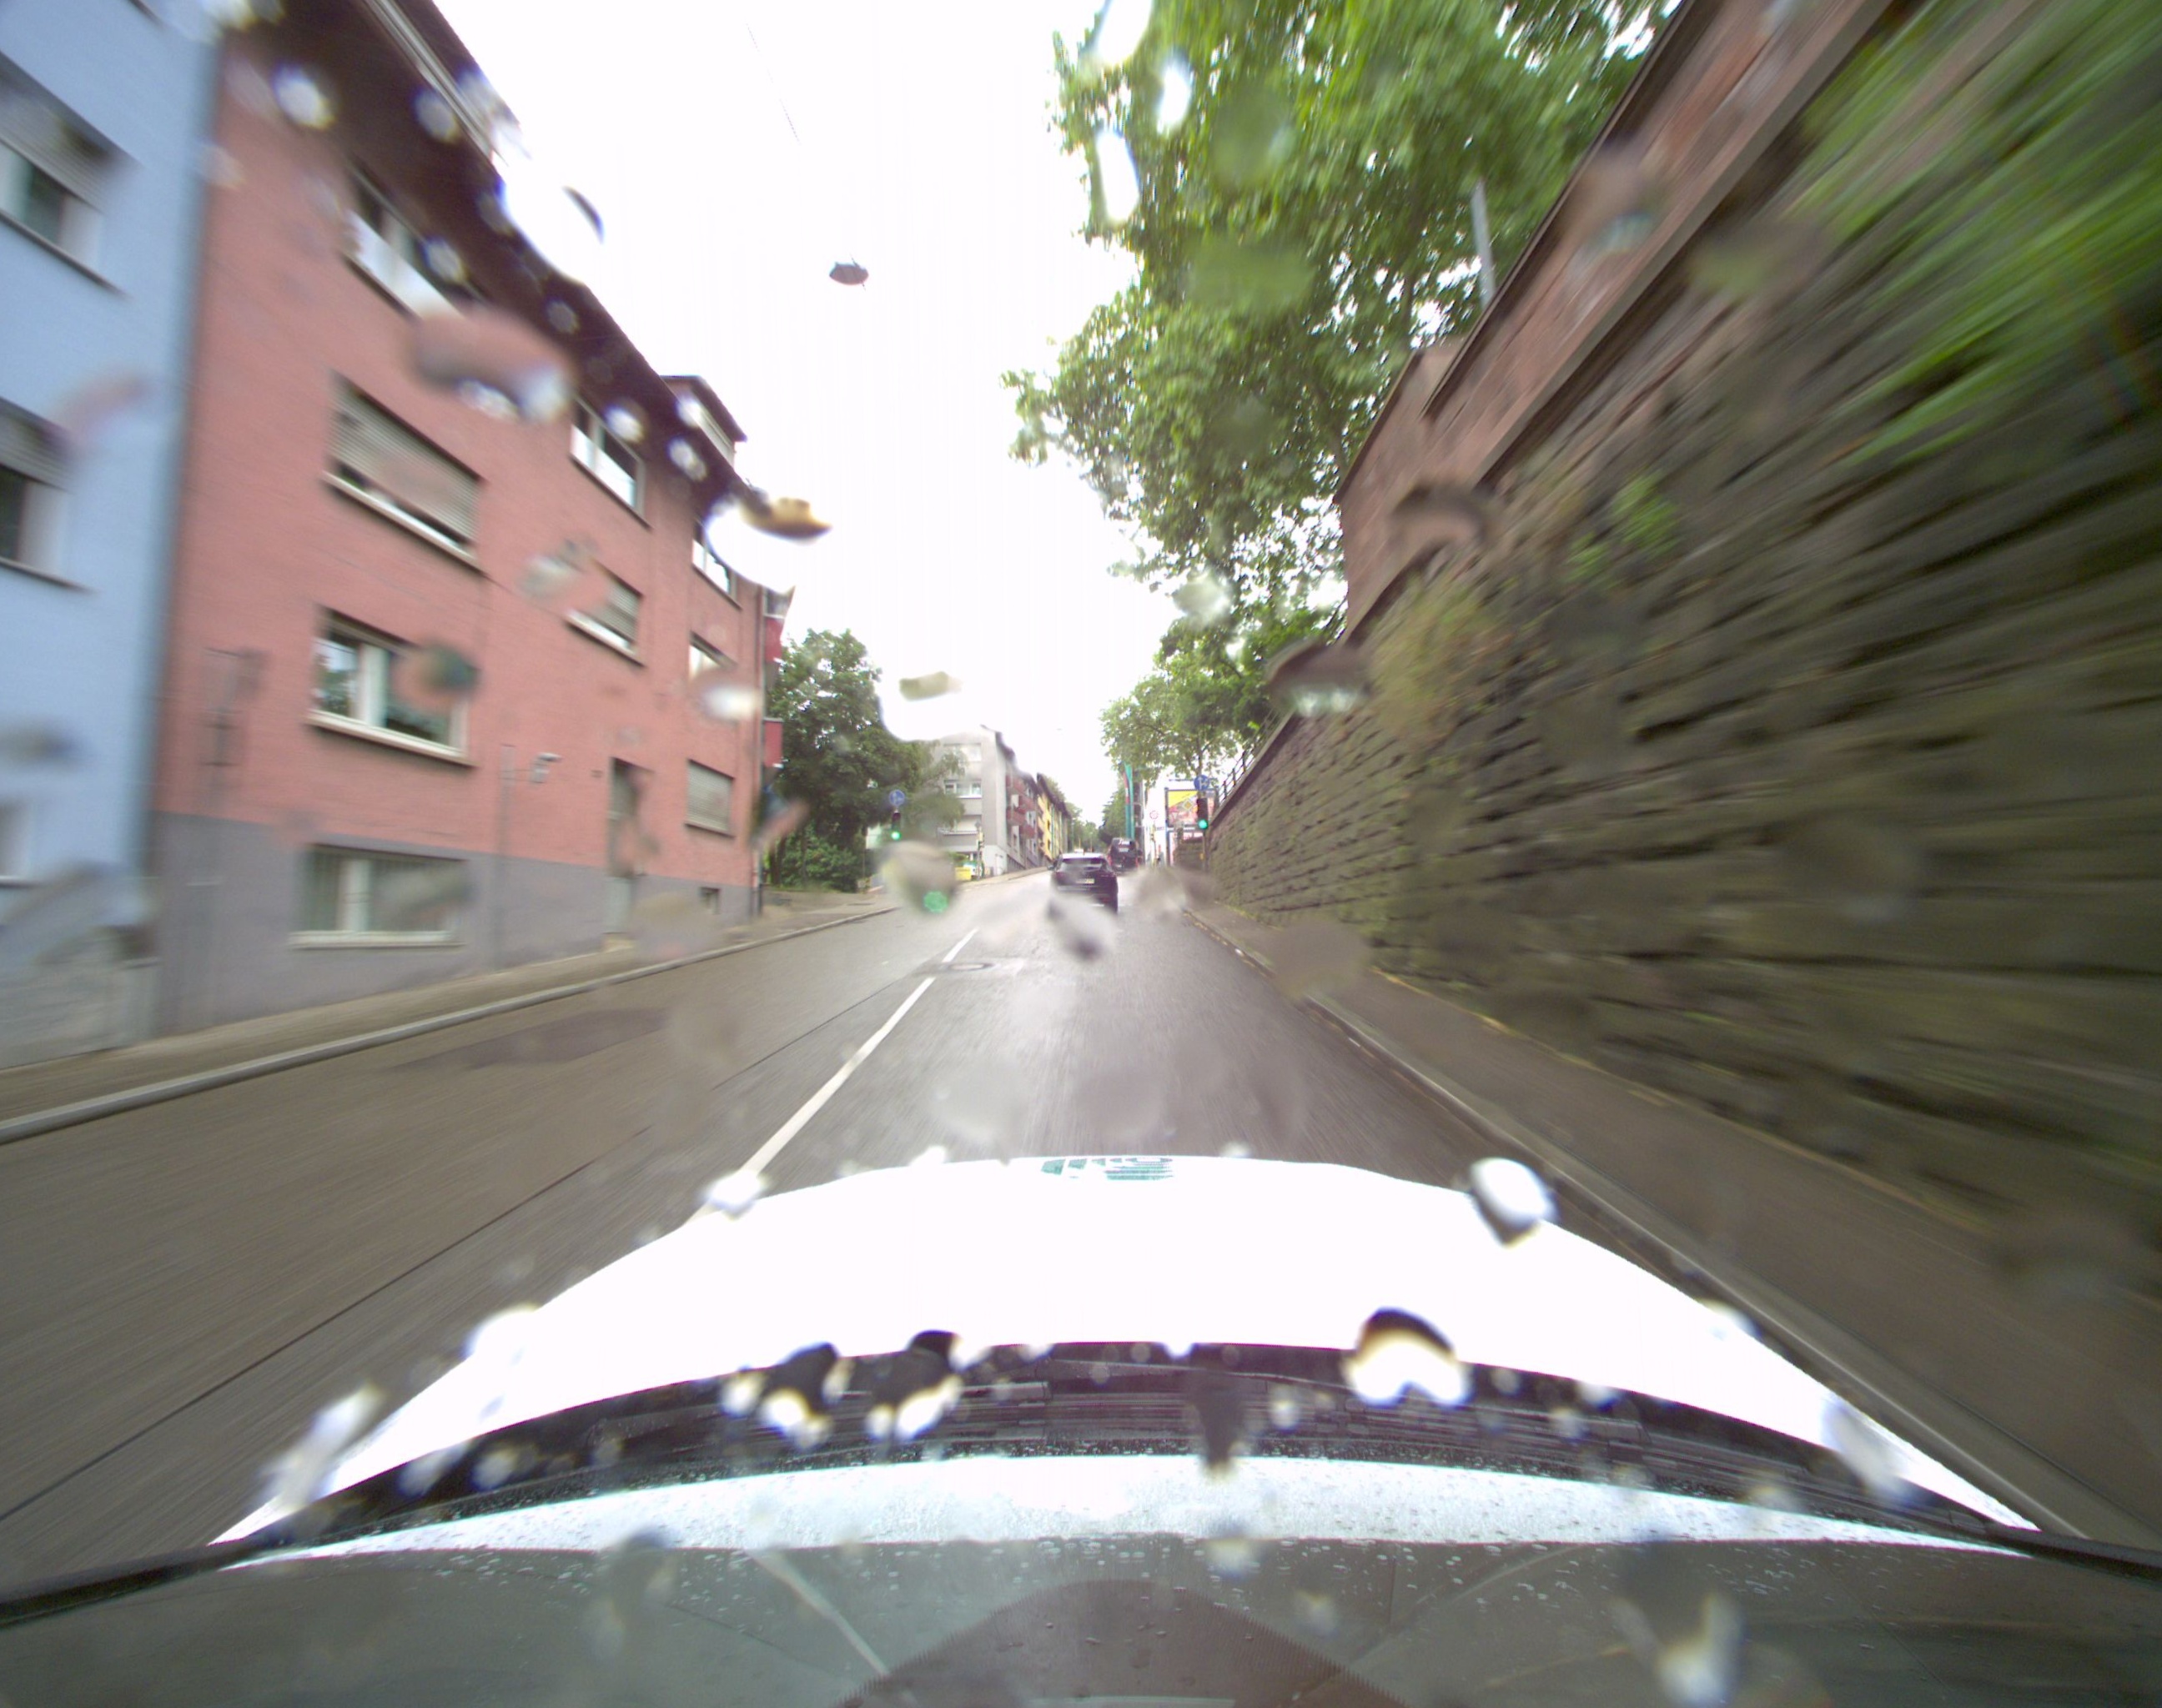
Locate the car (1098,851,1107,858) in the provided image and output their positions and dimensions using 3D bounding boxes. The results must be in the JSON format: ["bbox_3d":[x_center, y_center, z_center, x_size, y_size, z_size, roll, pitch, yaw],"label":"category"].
[{"bbox_3d":[5.104,0.196,191.948,2.067,1.559,4.000,-1,0,1],"label":"car"}]

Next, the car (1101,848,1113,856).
[{"bbox_3d":[4.881,-0.351,152.691,2.067,1.559,4.000,-1,0,0],"label":"car"}]

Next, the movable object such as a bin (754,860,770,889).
[{"bbox_3d":[-13.181,0.849,33.642,0.562,1.200,0.683,1,-2,-24],"label":"movable object such as a bin"}]

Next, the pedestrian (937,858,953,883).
[{"bbox_3d":[-8.593,1.038,51.517,0.867,1.541,1.086,0,-2,-1],"label":"pedestrian"}]

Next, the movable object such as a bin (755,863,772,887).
[{"bbox_3d":[-13.354,0.890,34.256,0.630,1.016,0.496,1,-2,-24],"label":"movable object such as a bin"}]

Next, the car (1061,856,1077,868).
[{"bbox_3d":[-1.831,1.147,122.210,1.984,1.650,4.447,-2,0,4],"label":"car"}]

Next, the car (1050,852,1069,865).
[{"bbox_3d":[-2.709,0.590,105.858,1.984,1.650,4.447,-2,0,4],"label":"car"}]

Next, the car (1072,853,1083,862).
[{"bbox_3d":[-0.626,0.647,145.349,1.983,1.585,4.305,-2,0,1],"label":"car"}]

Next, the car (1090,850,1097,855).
[{"bbox_3d":[3.813,-0.502,247.721,2.067,1.559,4.000,-1,0,1],"label":"car"}]

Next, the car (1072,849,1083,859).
[{"bbox_3d":[-0.586,0.058,151.719,1.983,1.755,4.480,-2,0,1],"label":"car"}]

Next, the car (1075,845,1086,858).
[{"bbox_3d":[-0.126,-0.473,161.504,1.983,2.474,5.785,-2,0,1],"label":"car"}]

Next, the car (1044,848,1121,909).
[{"bbox_3d":[0.104,0.617,23.001,1.986,1.559,4.002,0,1,2],"label":"car"}]

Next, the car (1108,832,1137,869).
[{"bbox_3d":[2.978,-0.188,58.321,1.985,2.414,5.839,0,-2,3],"label":"car"}]
